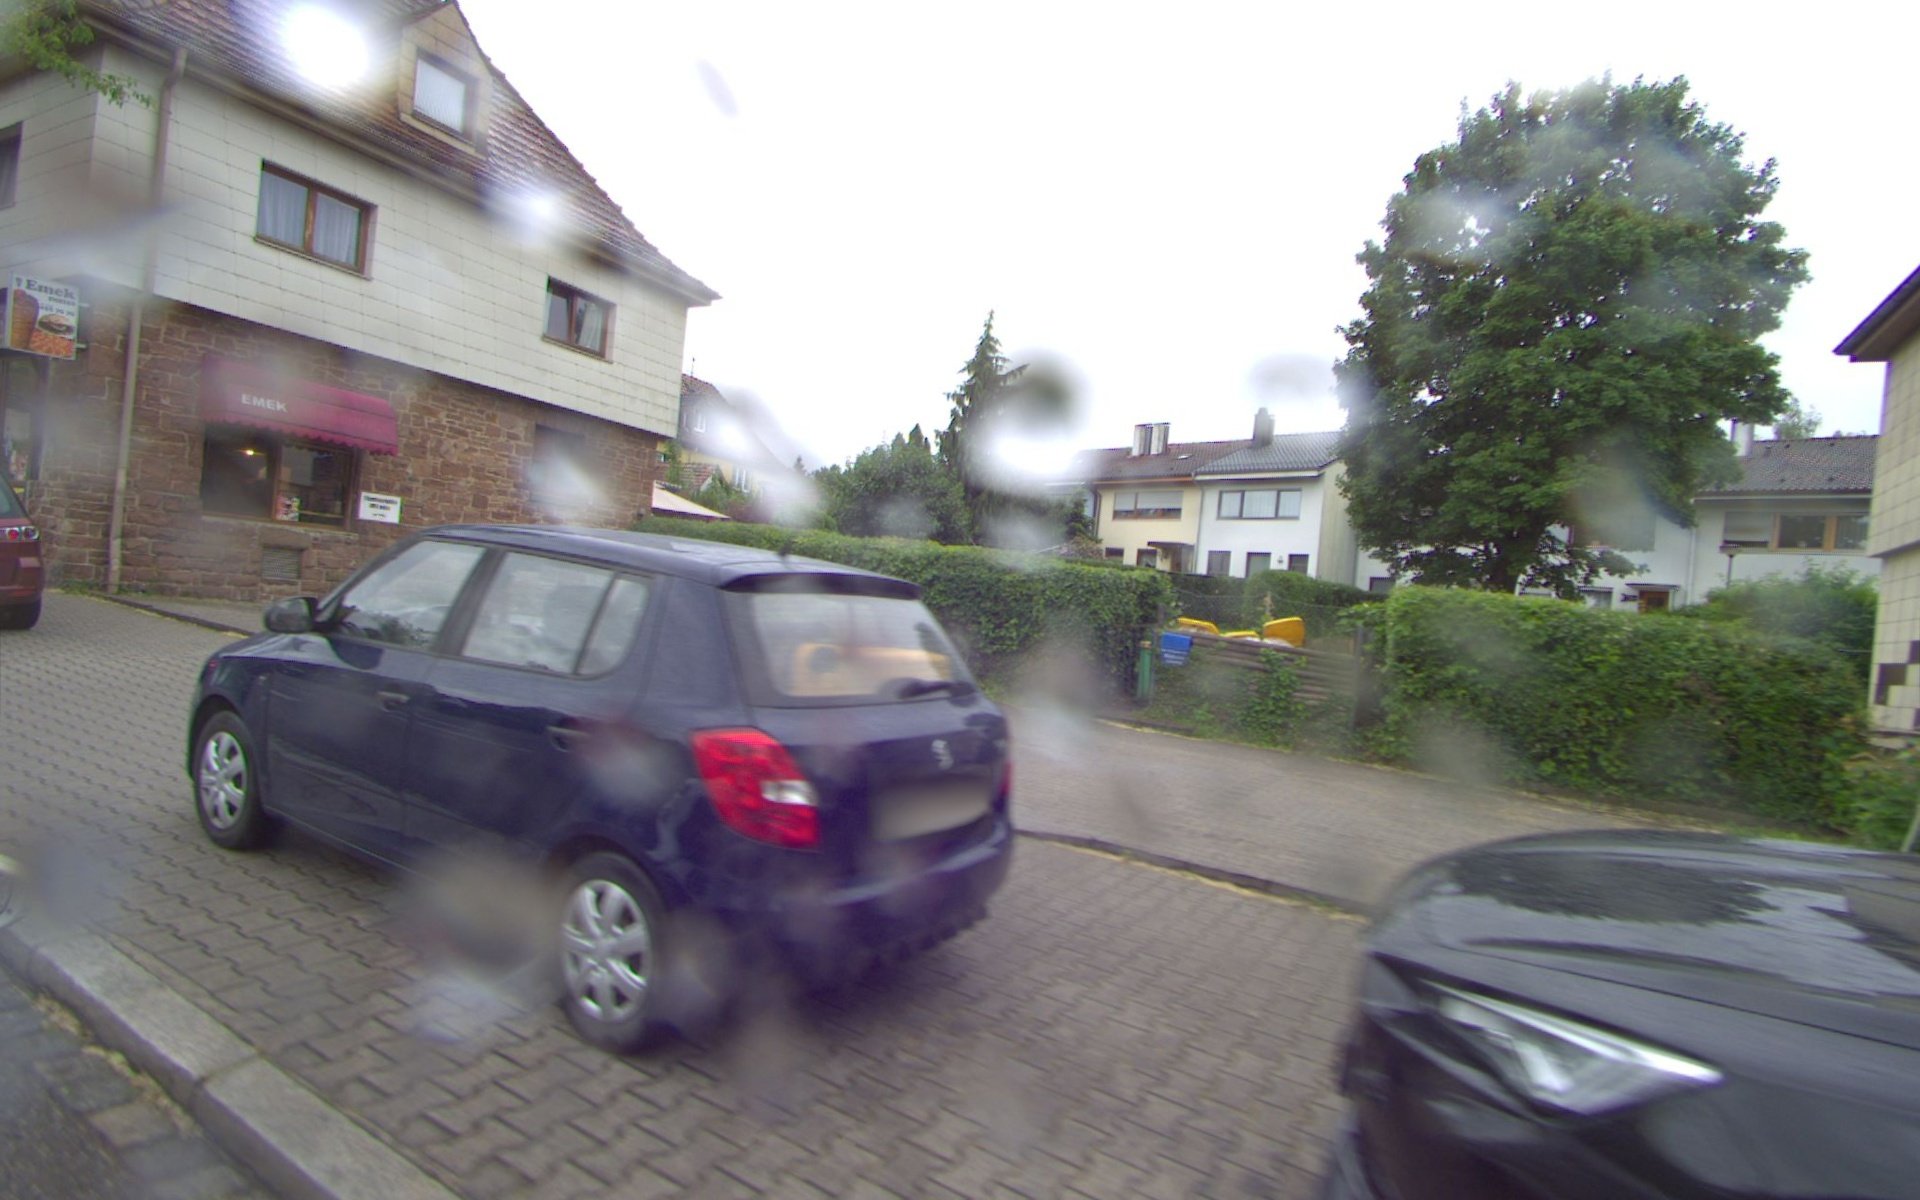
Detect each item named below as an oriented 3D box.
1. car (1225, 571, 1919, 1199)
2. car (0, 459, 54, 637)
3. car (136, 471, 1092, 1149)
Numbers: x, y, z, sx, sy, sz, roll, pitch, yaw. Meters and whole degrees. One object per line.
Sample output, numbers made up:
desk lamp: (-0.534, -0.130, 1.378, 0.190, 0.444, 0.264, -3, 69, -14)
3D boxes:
car: (2.646, 0.952, 1.328, 4.113, 1.519, 1.714, 7, 3, 31)
car: (-9.946, -0.647, 9.069, 3.565, 1.511, 1.584, 8, 4, 30)
car: (-1.594, 0.402, 4.101, 3.792, 1.492, 1.604, 8, 4, 32)
